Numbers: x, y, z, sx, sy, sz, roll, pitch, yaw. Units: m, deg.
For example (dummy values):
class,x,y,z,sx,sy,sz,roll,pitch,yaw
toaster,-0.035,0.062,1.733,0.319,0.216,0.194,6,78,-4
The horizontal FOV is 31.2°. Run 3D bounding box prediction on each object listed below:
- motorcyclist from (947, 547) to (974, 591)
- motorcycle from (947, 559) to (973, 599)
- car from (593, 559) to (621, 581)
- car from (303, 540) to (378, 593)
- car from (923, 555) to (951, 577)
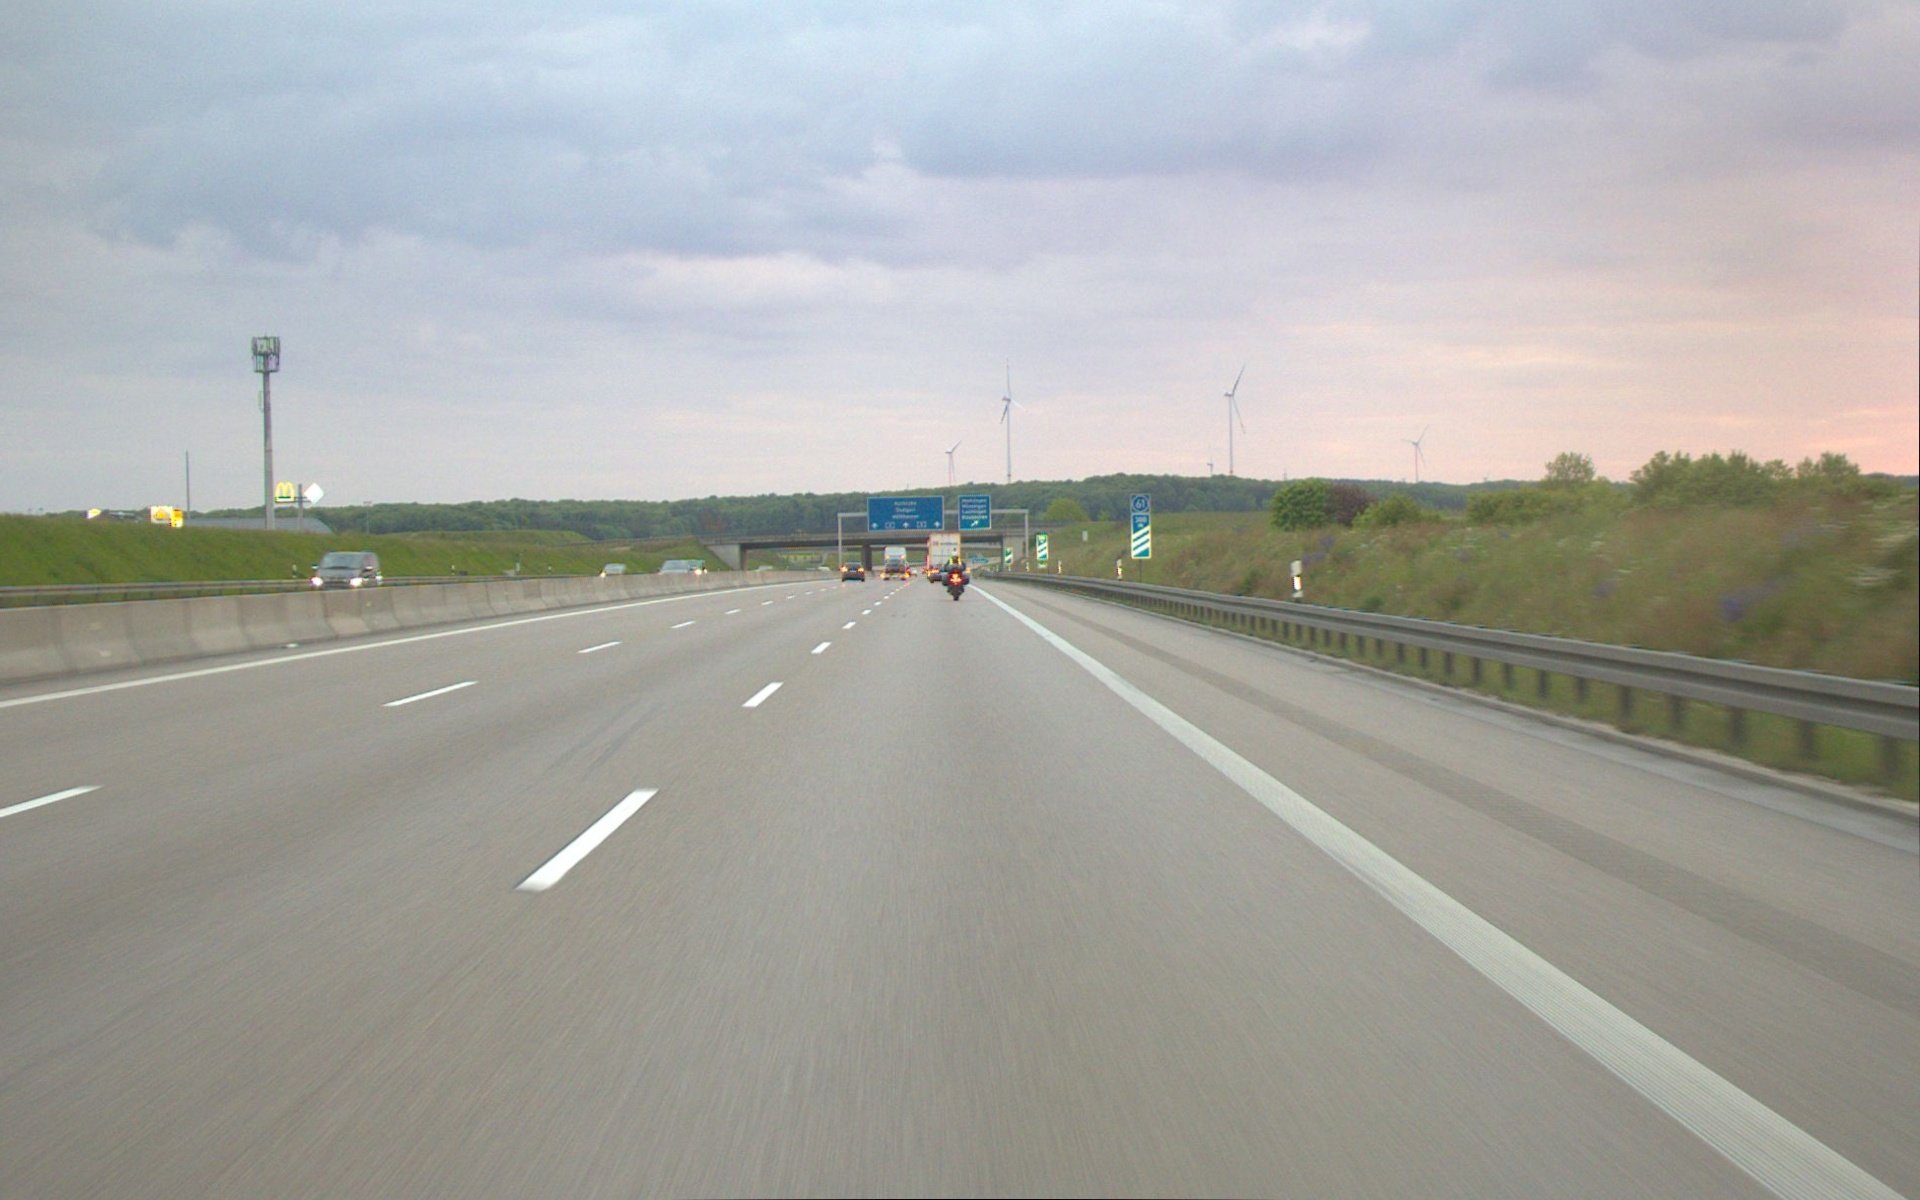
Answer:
class,x,y,z,sx,sy,sz,roll,pitch,yaw
motorcyclist,0.017,-1.069,116.917,0.866,1.482,1.168,1,1,1
motorcycle,-0.004,-0.723,117.038,0.902,1.342,2.349,0,1,0
car,-24.901,-2.113,242.402,1.630,1.512,4.427,0,1,-1
car,-23.531,-1.287,130.727,1.993,1.930,5.090,1,1,-1
car,-1.676,-2.413,246.206,1.918,1.574,4.000,0,1,-1
